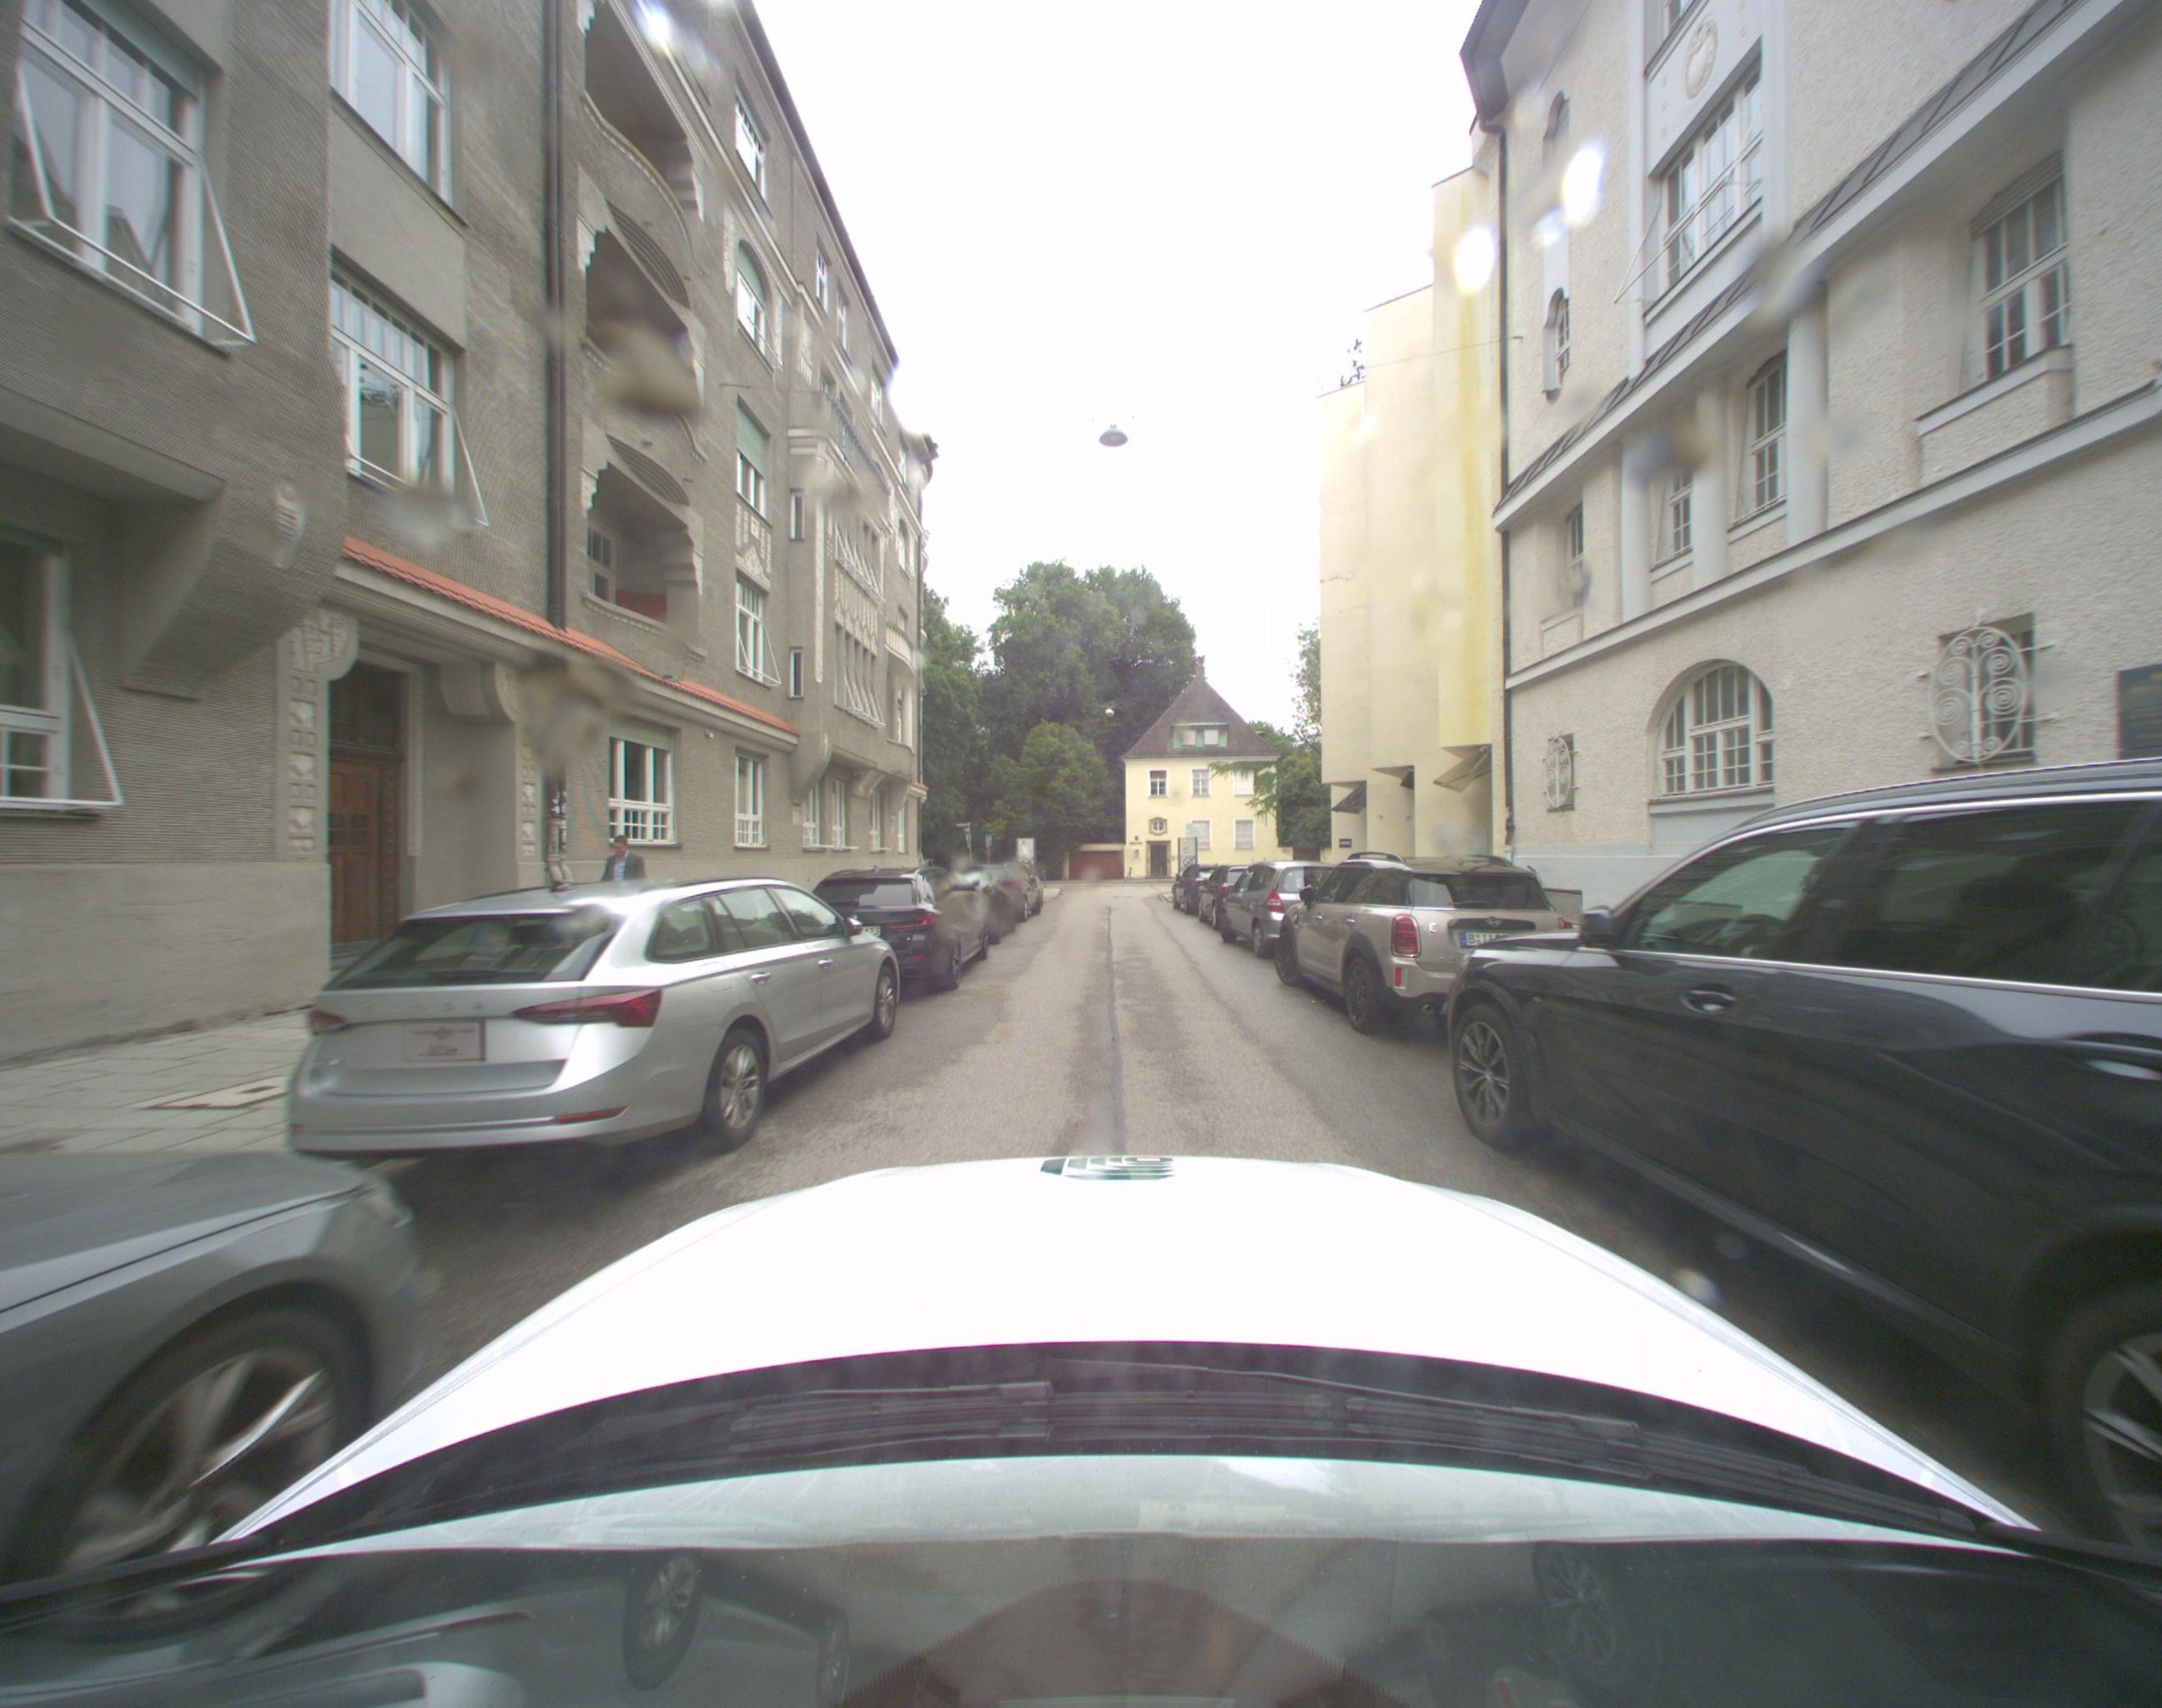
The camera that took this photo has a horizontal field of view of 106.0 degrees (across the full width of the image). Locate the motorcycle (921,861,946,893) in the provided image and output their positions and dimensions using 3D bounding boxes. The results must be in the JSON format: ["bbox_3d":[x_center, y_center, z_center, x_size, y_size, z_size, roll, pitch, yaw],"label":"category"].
[{"bbox_3d":[-6.875,1.039,38.076,0.733,1.441,2.147,0,-1,0],"label":"motorcycle"}]

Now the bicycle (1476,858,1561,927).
[{"bbox_3d":[8.122,0.684,15.208,0.562,1.193,1.675,-3,0,-3],"label":"bicycle"}]

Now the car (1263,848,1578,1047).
[{"bbox_3d":[3.183,0.768,8.547,1.629,1.592,3.967,0,0,-1],"label":"car"}]

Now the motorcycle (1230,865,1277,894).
[{"bbox_3d":[8.158,1.197,38.565,2.086,1.356,0.811,0,-1,-22],"label":"motorcycle"}]

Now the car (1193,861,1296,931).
[{"bbox_3d":[3.721,0.894,19.134,1.629,1.471,3.854,0,0,0],"label":"car"}]

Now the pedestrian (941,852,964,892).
[{"bbox_3d":[-5.884,0.814,37.404,0.835,1.787,0.937,0,-1,4],"label":"pedestrian"}]

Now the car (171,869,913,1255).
[{"bbox_3d":[-2.628,0.875,5.465,1.798,1.431,4.443,-2,0,3],"label":"car"}]

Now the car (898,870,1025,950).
[{"bbox_3d":[-2.252,1.024,16.379,1.748,1.331,4.099,-1,0,3],"label":"car"}]

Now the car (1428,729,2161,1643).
[{"bbox_3d":[3.050,0.630,2.692,1.986,1.689,4.677,1,0,2],"label":"car"}]

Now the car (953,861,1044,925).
[{"bbox_3d":[-2.081,0.957,21.862,1.748,1.515,4.710,-1,0,3],"label":"car"}]

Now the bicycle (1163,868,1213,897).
[{"bbox_3d":[4.207,1.122,31.937,1.774,1.085,0.670,-2,1,28],"label":"bicycle"}]

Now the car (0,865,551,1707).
[{"bbox_3d":[-2.532,0.796,0.118,1.831,1.513,4.608,-1,0,1],"label":"car"}]

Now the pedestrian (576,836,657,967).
[{"bbox_3d":[-6.622,0.658,11.639,0.714,1.817,0.731,0,-1,1],"label":"pedestrian"}]

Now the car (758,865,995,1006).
[{"bbox_3d":[-2.448,0.906,11.131,1.987,1.448,4.778,-1,0,0],"label":"car"}]

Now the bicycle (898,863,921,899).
[{"bbox_3d":[-6.646,1.036,31.649,0.617,1.349,1.673,0,-1,-3],"label":"bicycle"}]

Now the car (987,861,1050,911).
[{"bbox_3d":[-2.003,1.016,26.873,1.697,1.515,2.913,-1,0,2],"label":"car"}]

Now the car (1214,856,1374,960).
[{"bbox_3d":[3.480,0.810,14.029,1.630,1.537,3.852,0,0,-2],"label":"car"}]

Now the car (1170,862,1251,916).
[{"bbox_3d":[3.798,0.975,24.580,1.687,1.471,4.610,0,0,0],"label":"car"}]
